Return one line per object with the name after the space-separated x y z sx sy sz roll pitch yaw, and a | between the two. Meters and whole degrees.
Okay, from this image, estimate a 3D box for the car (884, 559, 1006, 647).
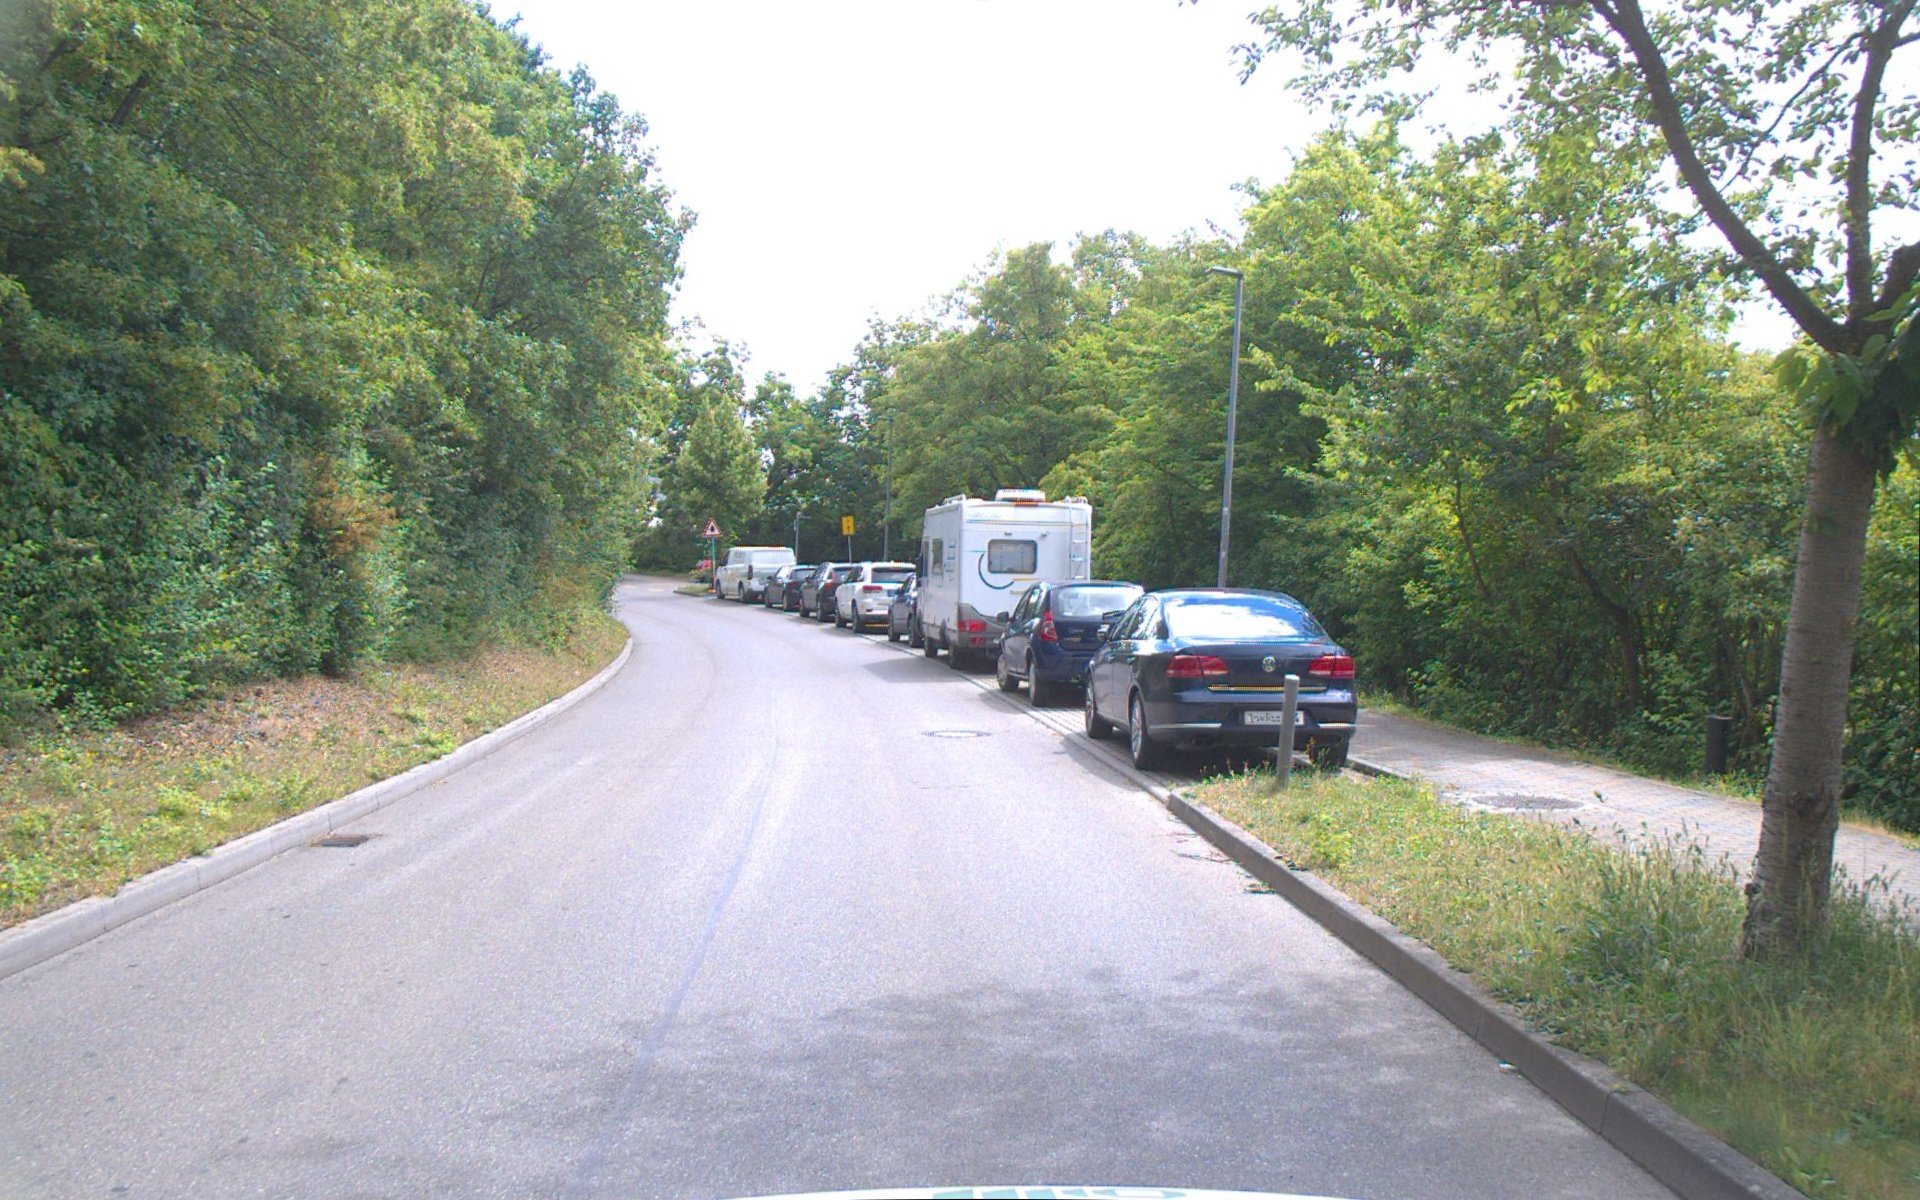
-0.381 0.014 35.525 1.682 1.618 3.987 -6 2 -13 | car

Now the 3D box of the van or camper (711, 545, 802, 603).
-7.456 -1.003 60.194 1.966 1.953 5.230 -1 3 -23 | van or camper

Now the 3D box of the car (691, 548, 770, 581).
-10.970 -1.700 79.022 3.484 1.506 1.772 0 3 -20 | car

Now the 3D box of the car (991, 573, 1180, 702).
1.553 0.456 21.867 1.696 1.545 3.882 0 0 -8 | car

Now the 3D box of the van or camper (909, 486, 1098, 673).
0.610 -0.378 29.433 2.289 2.919 6.139 2 1 -8 | van or camper

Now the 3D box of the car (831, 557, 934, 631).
-2.054 -0.196 42.504 1.839 1.718 4.565 2 1 -13 | car

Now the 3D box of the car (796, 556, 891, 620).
-3.454 -0.403 48.170 1.961 1.654 4.261 -2 3 -15 | car

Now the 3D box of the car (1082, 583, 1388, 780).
2.257 0.597 14.748 1.741 1.459 4.330 0 1 -4 | car

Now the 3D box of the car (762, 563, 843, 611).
-5.257 -0.467 54.668 1.771 1.489 3.978 0 1 -19 | car
